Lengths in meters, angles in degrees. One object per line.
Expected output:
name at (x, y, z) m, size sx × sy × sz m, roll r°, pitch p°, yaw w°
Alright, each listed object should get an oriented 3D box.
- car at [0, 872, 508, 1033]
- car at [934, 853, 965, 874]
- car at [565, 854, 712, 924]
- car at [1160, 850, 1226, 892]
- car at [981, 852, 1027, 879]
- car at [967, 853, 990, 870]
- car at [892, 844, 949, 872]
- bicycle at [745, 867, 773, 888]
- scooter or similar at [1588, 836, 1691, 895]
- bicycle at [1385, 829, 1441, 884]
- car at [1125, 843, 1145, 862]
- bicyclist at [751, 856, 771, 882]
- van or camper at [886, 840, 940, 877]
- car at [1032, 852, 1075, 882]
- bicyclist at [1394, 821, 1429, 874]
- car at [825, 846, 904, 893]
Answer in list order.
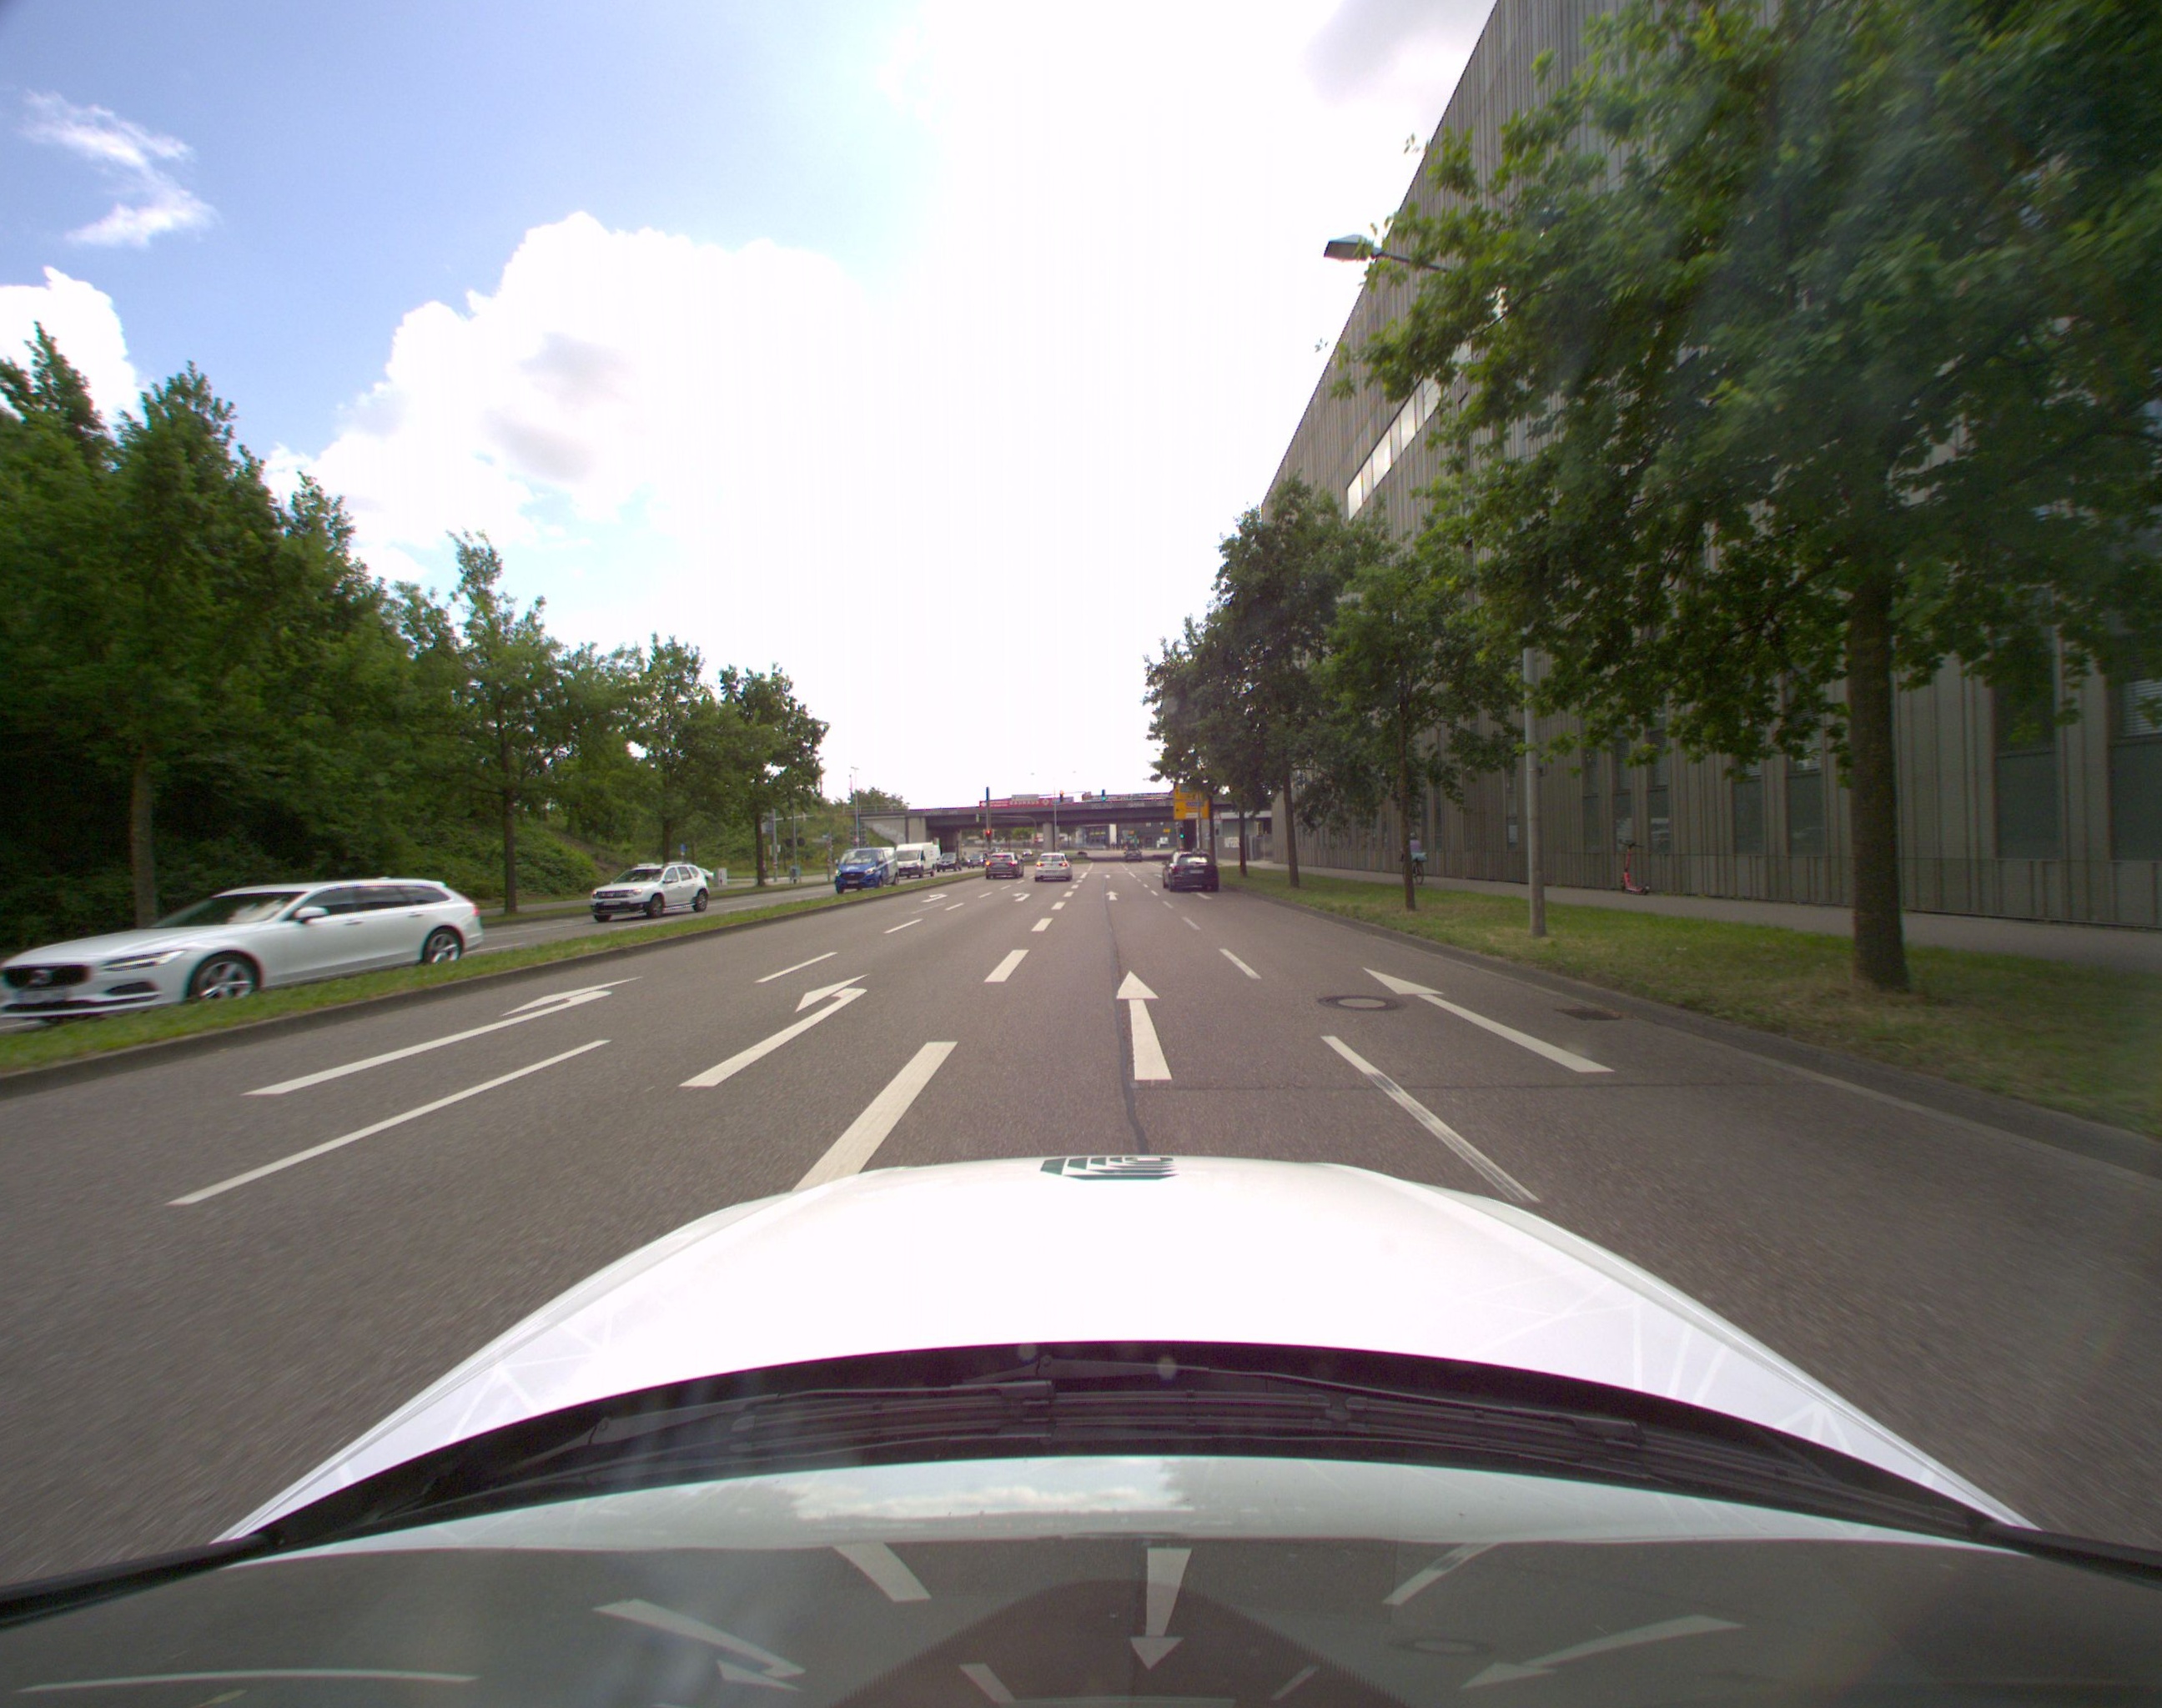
car at (-10.437, 1.068, 10.755) m, size 1.986 × 1.431 × 5.026 m, roll -2°, pitch 0°, yaw 2°
car at (-11.972, 0.846, 74.519) m, size 1.987 × 1.766 × 4.221 m, roll -2°, pitch 0°, yaw 1°
car at (-13.440, 0.984, 25.107) m, size 1.987 × 1.801 × 4.409 m, roll -4°, pitch 0°, yaw 0°
car at (4.124, 0.599, 30.746) m, size 1.986 × 1.390 × 4.577 m, roll -1°, pitch 1°, yaw 1°
car at (-4.293, 0.630, 46.214) m, size 1.986 × 1.415 × 4.834 m, roll -1°, pitch 0°, yaw 1°
car at (-10.951, 0.793, 87.265) m, size 1.799 × 1.632 × 4.394 m, roll -2°, pitch 0°, yaw 1°
car at (-17.179, 0.419, 87.406) m, size 5.432 × 2.821 × 2.364 m, roll -2°, pitch 0°, yaw -30°
bicycle at (-21.501, 1.559, 54.484) m, size 0.818 × 1.270 × 2.395 m, roll -1°, pitch 0°, yaw 3°
scooter or similar at (12.858, 0.245, 18.871) m, size 0.702 × 1.246 × 2.481 m, roll -3°, pitch 0°, yaw 2°
bicycle at (11.280, 0.074, 27.759) m, size 0.718 × 1.774 × 2.532 m, roll -2°, pitch 0°, yaw -2°
car at (6.228, -0.148, 94.309) m, size 1.986 × 2.037 × 4.715 m, roll -2°, pitch 0°, yaw 2°
bicyclist at (-21.466, 1.002, 54.648) m, size 0.888 × 1.747 × 0.998 m, roll -1°, pitch 0°, yaw 4°
van or camper at (-12.074, 0.281, 59.243) m, size 2.344 × 2.539 × 7.064 m, roll -1°, pitch 0°, yaw 1°
car at (-1.369, 0.606, 42.005) m, size 1.908 × 1.414 × 4.297 m, roll 1°, pitch 0°, yaw 1°
bicyclist at (11.272, -0.213, 27.787) m, size 0.713 × 1.769 × 0.988 m, roll -2°, pitch 0°, yaw -2°
car at (-9.914, 0.646, 37.752) m, size 2.183 × 1.963 × 5.193 m, roll -2°, pitch 0°, yaw 0°
